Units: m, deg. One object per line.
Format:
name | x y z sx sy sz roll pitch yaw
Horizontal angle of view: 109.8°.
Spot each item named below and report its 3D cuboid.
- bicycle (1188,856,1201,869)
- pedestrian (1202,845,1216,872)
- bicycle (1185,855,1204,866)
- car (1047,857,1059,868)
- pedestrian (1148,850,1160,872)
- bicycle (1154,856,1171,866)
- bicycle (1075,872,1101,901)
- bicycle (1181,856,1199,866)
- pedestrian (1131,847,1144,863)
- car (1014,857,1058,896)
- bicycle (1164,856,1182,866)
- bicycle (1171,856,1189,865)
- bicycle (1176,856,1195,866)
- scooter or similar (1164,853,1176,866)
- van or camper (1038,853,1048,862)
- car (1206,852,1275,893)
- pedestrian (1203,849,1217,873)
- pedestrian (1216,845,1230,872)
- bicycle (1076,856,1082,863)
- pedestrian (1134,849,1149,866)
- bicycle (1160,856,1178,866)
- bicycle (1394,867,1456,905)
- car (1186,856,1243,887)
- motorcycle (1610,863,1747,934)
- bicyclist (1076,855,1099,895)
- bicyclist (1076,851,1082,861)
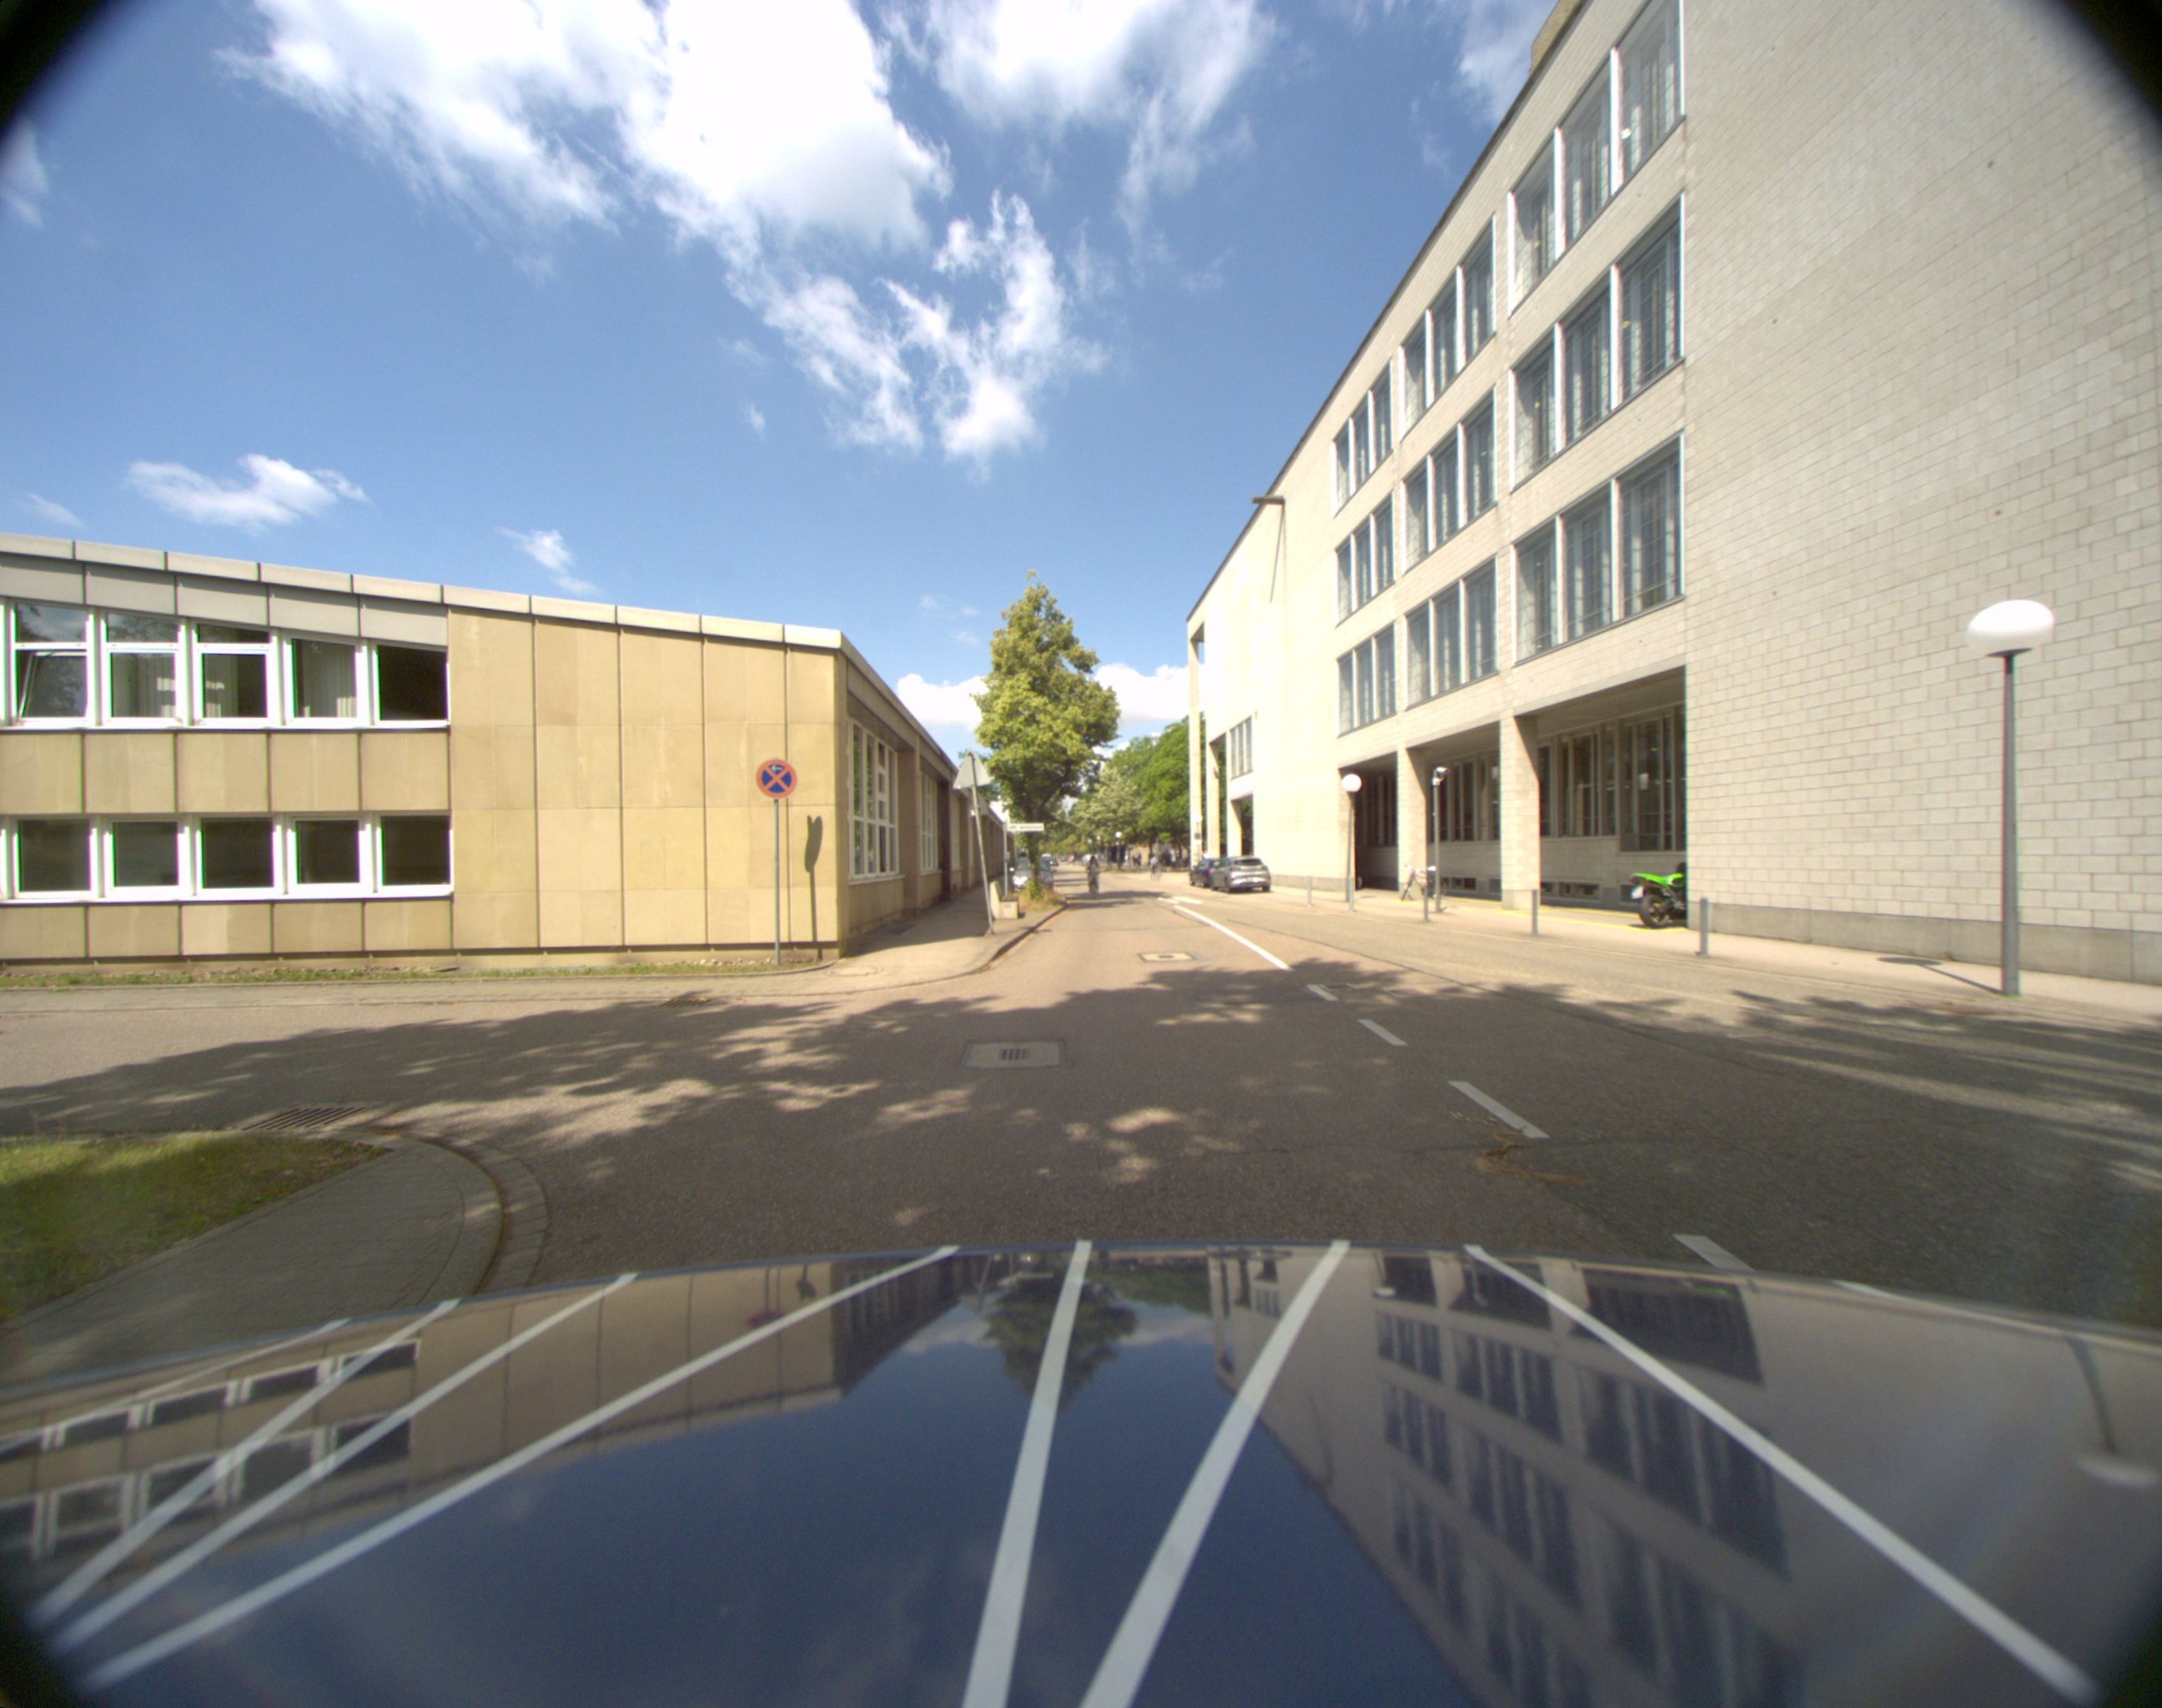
bicycle | 9.701 0.704 64.895 0.508 1.100 2.000 -1 0 -8
pedestrian | 9.618 0.346 57.220 0.755 2.002 1.080 -1 1 -4
bicycle | 12.825 0.750 85.881 2.128 1.151 0.751 -2 1 -33
car | -4.859 1.473 131.940 1.999 1.805 3.999 0 0 -2
pedestrian | 5.871 0.570 60.959 0.760 1.715 1.235 -3 1 7
bicycle | 9.810 0.834 91.235 2.128 1.052 0.621 -2 1 -33
bicycle | 0.239 1.206 28.642 0.781 1.042 1.912 0 0 -5
bicycle | 12.416 0.762 86.520 2.128 1.100 0.681 -2 1 -33
pedestrian | 7.151 0.091 95.651 1.400 2.002 1.369 -1 0 -4
car | -1.950 0.936 32.683 1.761 1.559 3.816 0 0 -4
bicycle | 10.814 0.806 89.411 2.128 1.052 0.681 -2 1 -33
bicycle | 11.463 0.750 87.988 2.128 1.052 0.681 -2 1 -33
bicycle | 11.996 0.768 87.141 2.128 1.100 0.681 -2 1 -33
scooter or similar | 8.272 0.493 70.533 0.713 1.184 1.617 -1 1 19
van or camper | -9.248 0.878 187.317 1.998 2.348 4.384 0 0 3
car | 6.686 0.729 32.319 1.731 1.526 4.403 -3 1 -3
pedestrian | 9.501 0.508 56.056 0.755 1.770 1.080 -1 1 -4
pedestrian | 10.484 0.331 56.255 0.755 2.002 1.080 -1 1 -4
bicycle | -0.374 0.886 132.297 1.011 1.169 3.393 -1 0 -3
pedestrian | 6.697 0.365 83.755 1.400 1.813 1.369 -1 0 -4
bicycle | 10.422 0.812 89.993 2.128 1.052 0.621 -2 1 -33
bicycle | 10.487 0.979 23.180 1.644 1.080 0.607 -2 1 -9
car | 6.521 0.805 37.539 1.731 1.414 4.663 -1 0 -3
motorcycle | 11.022 0.795 14.025 2.173 1.131 0.774 -3 1 -13
bicyclist | 0.246 0.763 28.578 0.781 1.478 0.695 0 0 -5
bicyclist | -0.381 0.418 132.316 1.053 1.690 1.281 -1 1 -3
